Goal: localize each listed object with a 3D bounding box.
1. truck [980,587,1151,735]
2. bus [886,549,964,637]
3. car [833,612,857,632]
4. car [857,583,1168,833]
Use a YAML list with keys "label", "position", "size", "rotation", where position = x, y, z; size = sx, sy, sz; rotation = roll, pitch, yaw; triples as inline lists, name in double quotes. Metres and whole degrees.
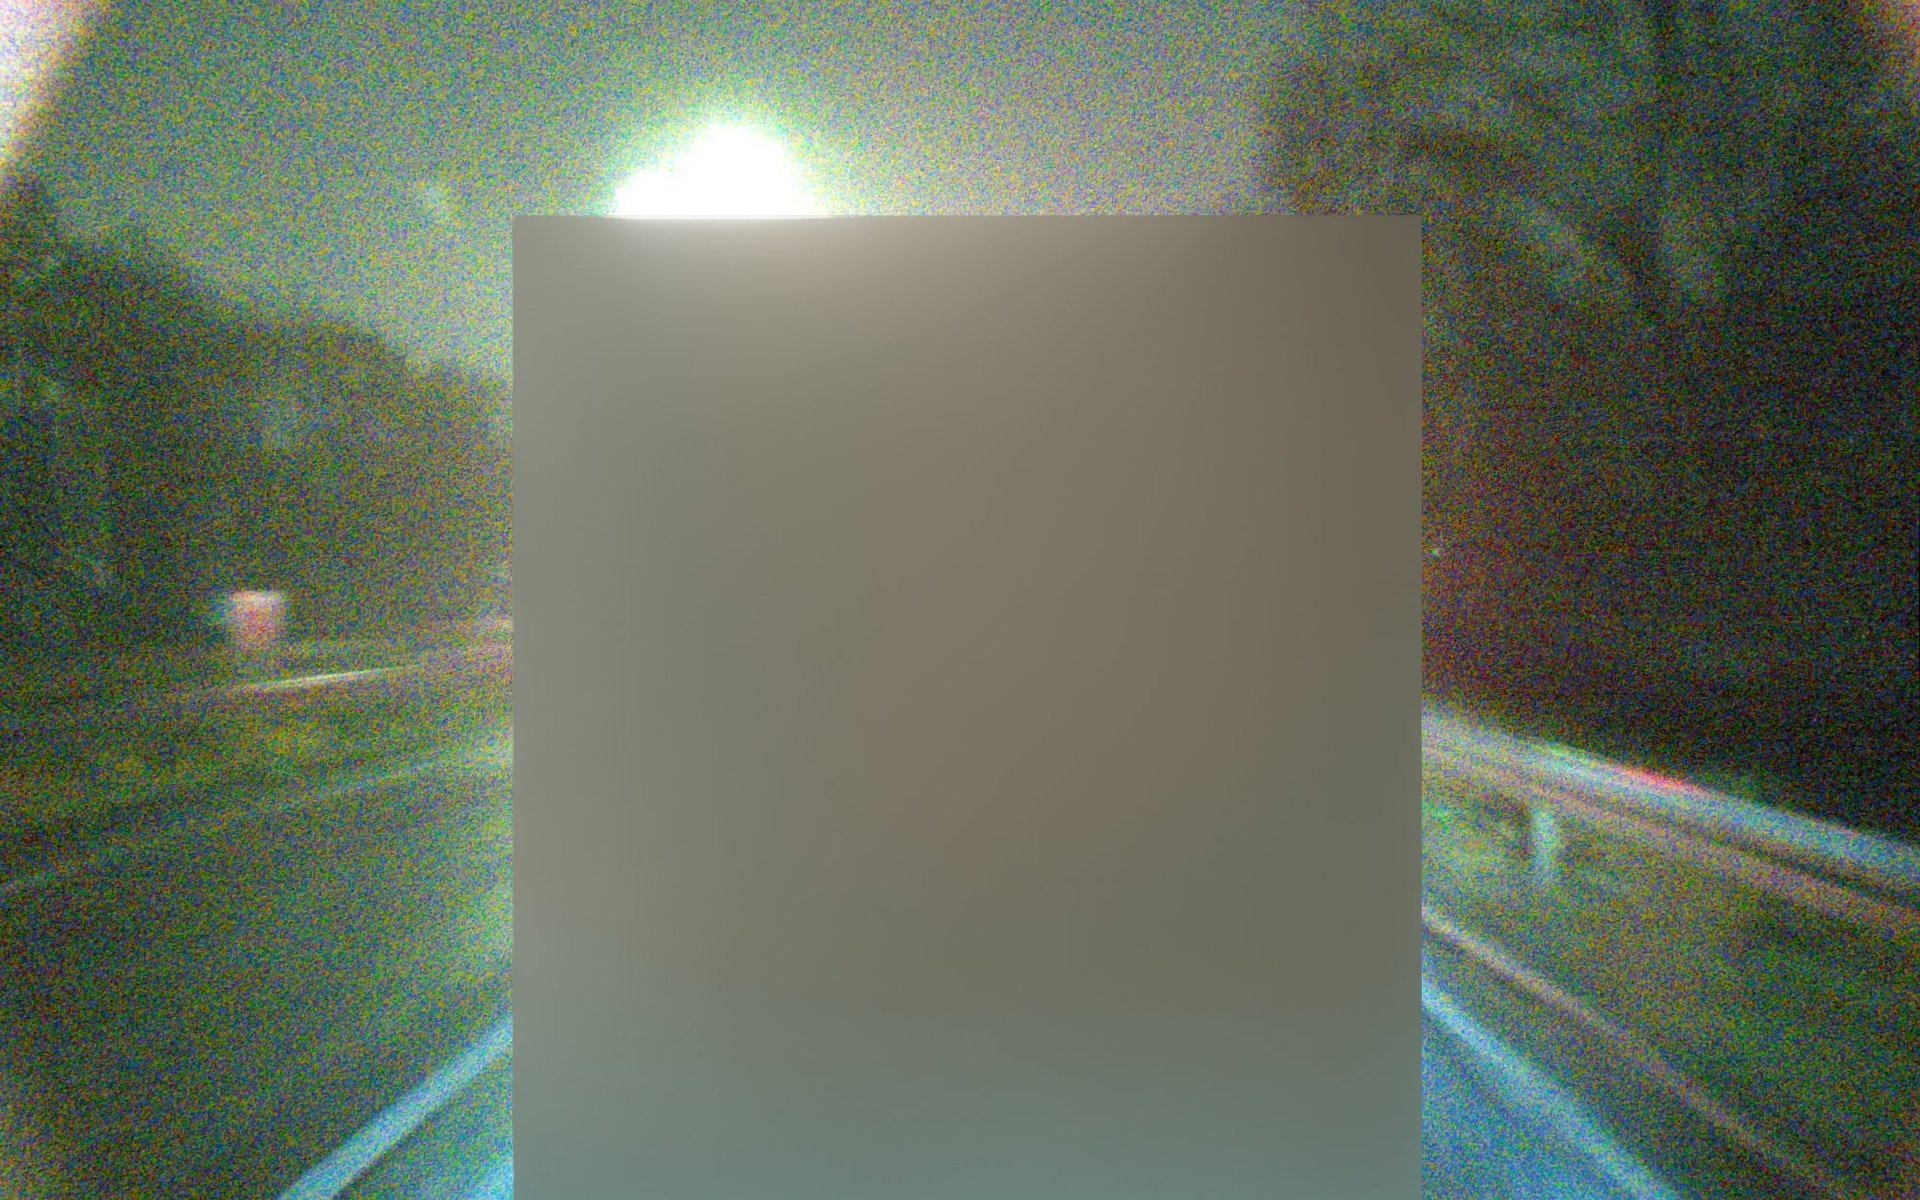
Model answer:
- label: "truck"
  position: [2.222, 1.188, 33.376]
  size: [3.005, 2.573, 7.170]
  rotation: [2, -1, 5]
- label: "bus"
  position: [-1.293, -0.271, 66.250]
  size: [2.687, 3.178, 9.202]
  rotation: [2, 0, 1]
- label: "car"
  position: [-9.854, 1.886, 141.651]
  size: [1.567, 1.579, 3.834]
  rotation: [2, -1, 2]
- label: "car"
  position: [0.452, 0.676, 12.022]
  size: [1.903, 1.517, 3.717]
  rotation: [0, -1, 4]
